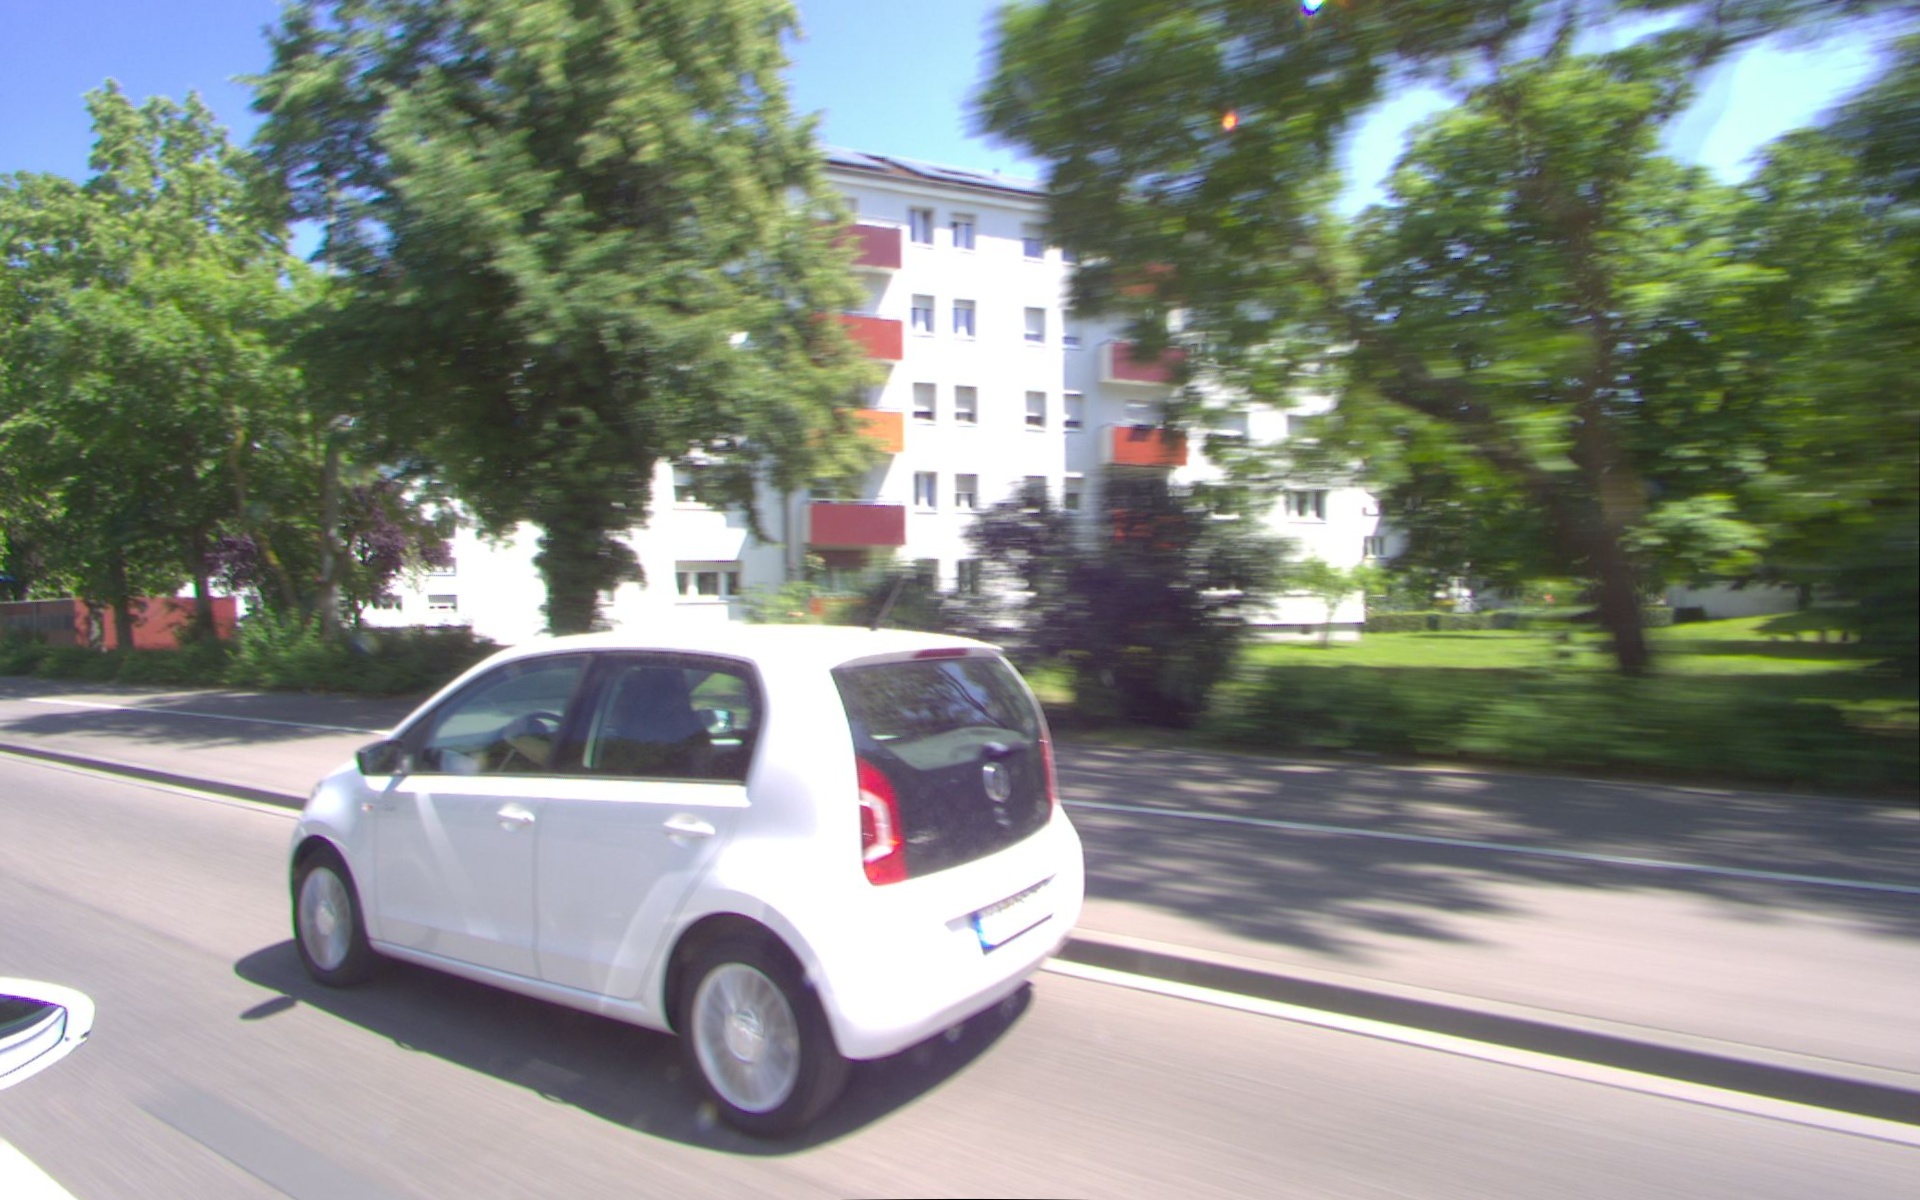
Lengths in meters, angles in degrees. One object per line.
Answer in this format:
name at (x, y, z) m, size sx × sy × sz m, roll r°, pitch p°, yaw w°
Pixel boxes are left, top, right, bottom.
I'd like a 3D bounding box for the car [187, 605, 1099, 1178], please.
car at (-1.485, 0.791, 4.281) m, size 3.799 × 1.468 × 1.656 m, roll -1°, pitch -1°, yaw 32°
